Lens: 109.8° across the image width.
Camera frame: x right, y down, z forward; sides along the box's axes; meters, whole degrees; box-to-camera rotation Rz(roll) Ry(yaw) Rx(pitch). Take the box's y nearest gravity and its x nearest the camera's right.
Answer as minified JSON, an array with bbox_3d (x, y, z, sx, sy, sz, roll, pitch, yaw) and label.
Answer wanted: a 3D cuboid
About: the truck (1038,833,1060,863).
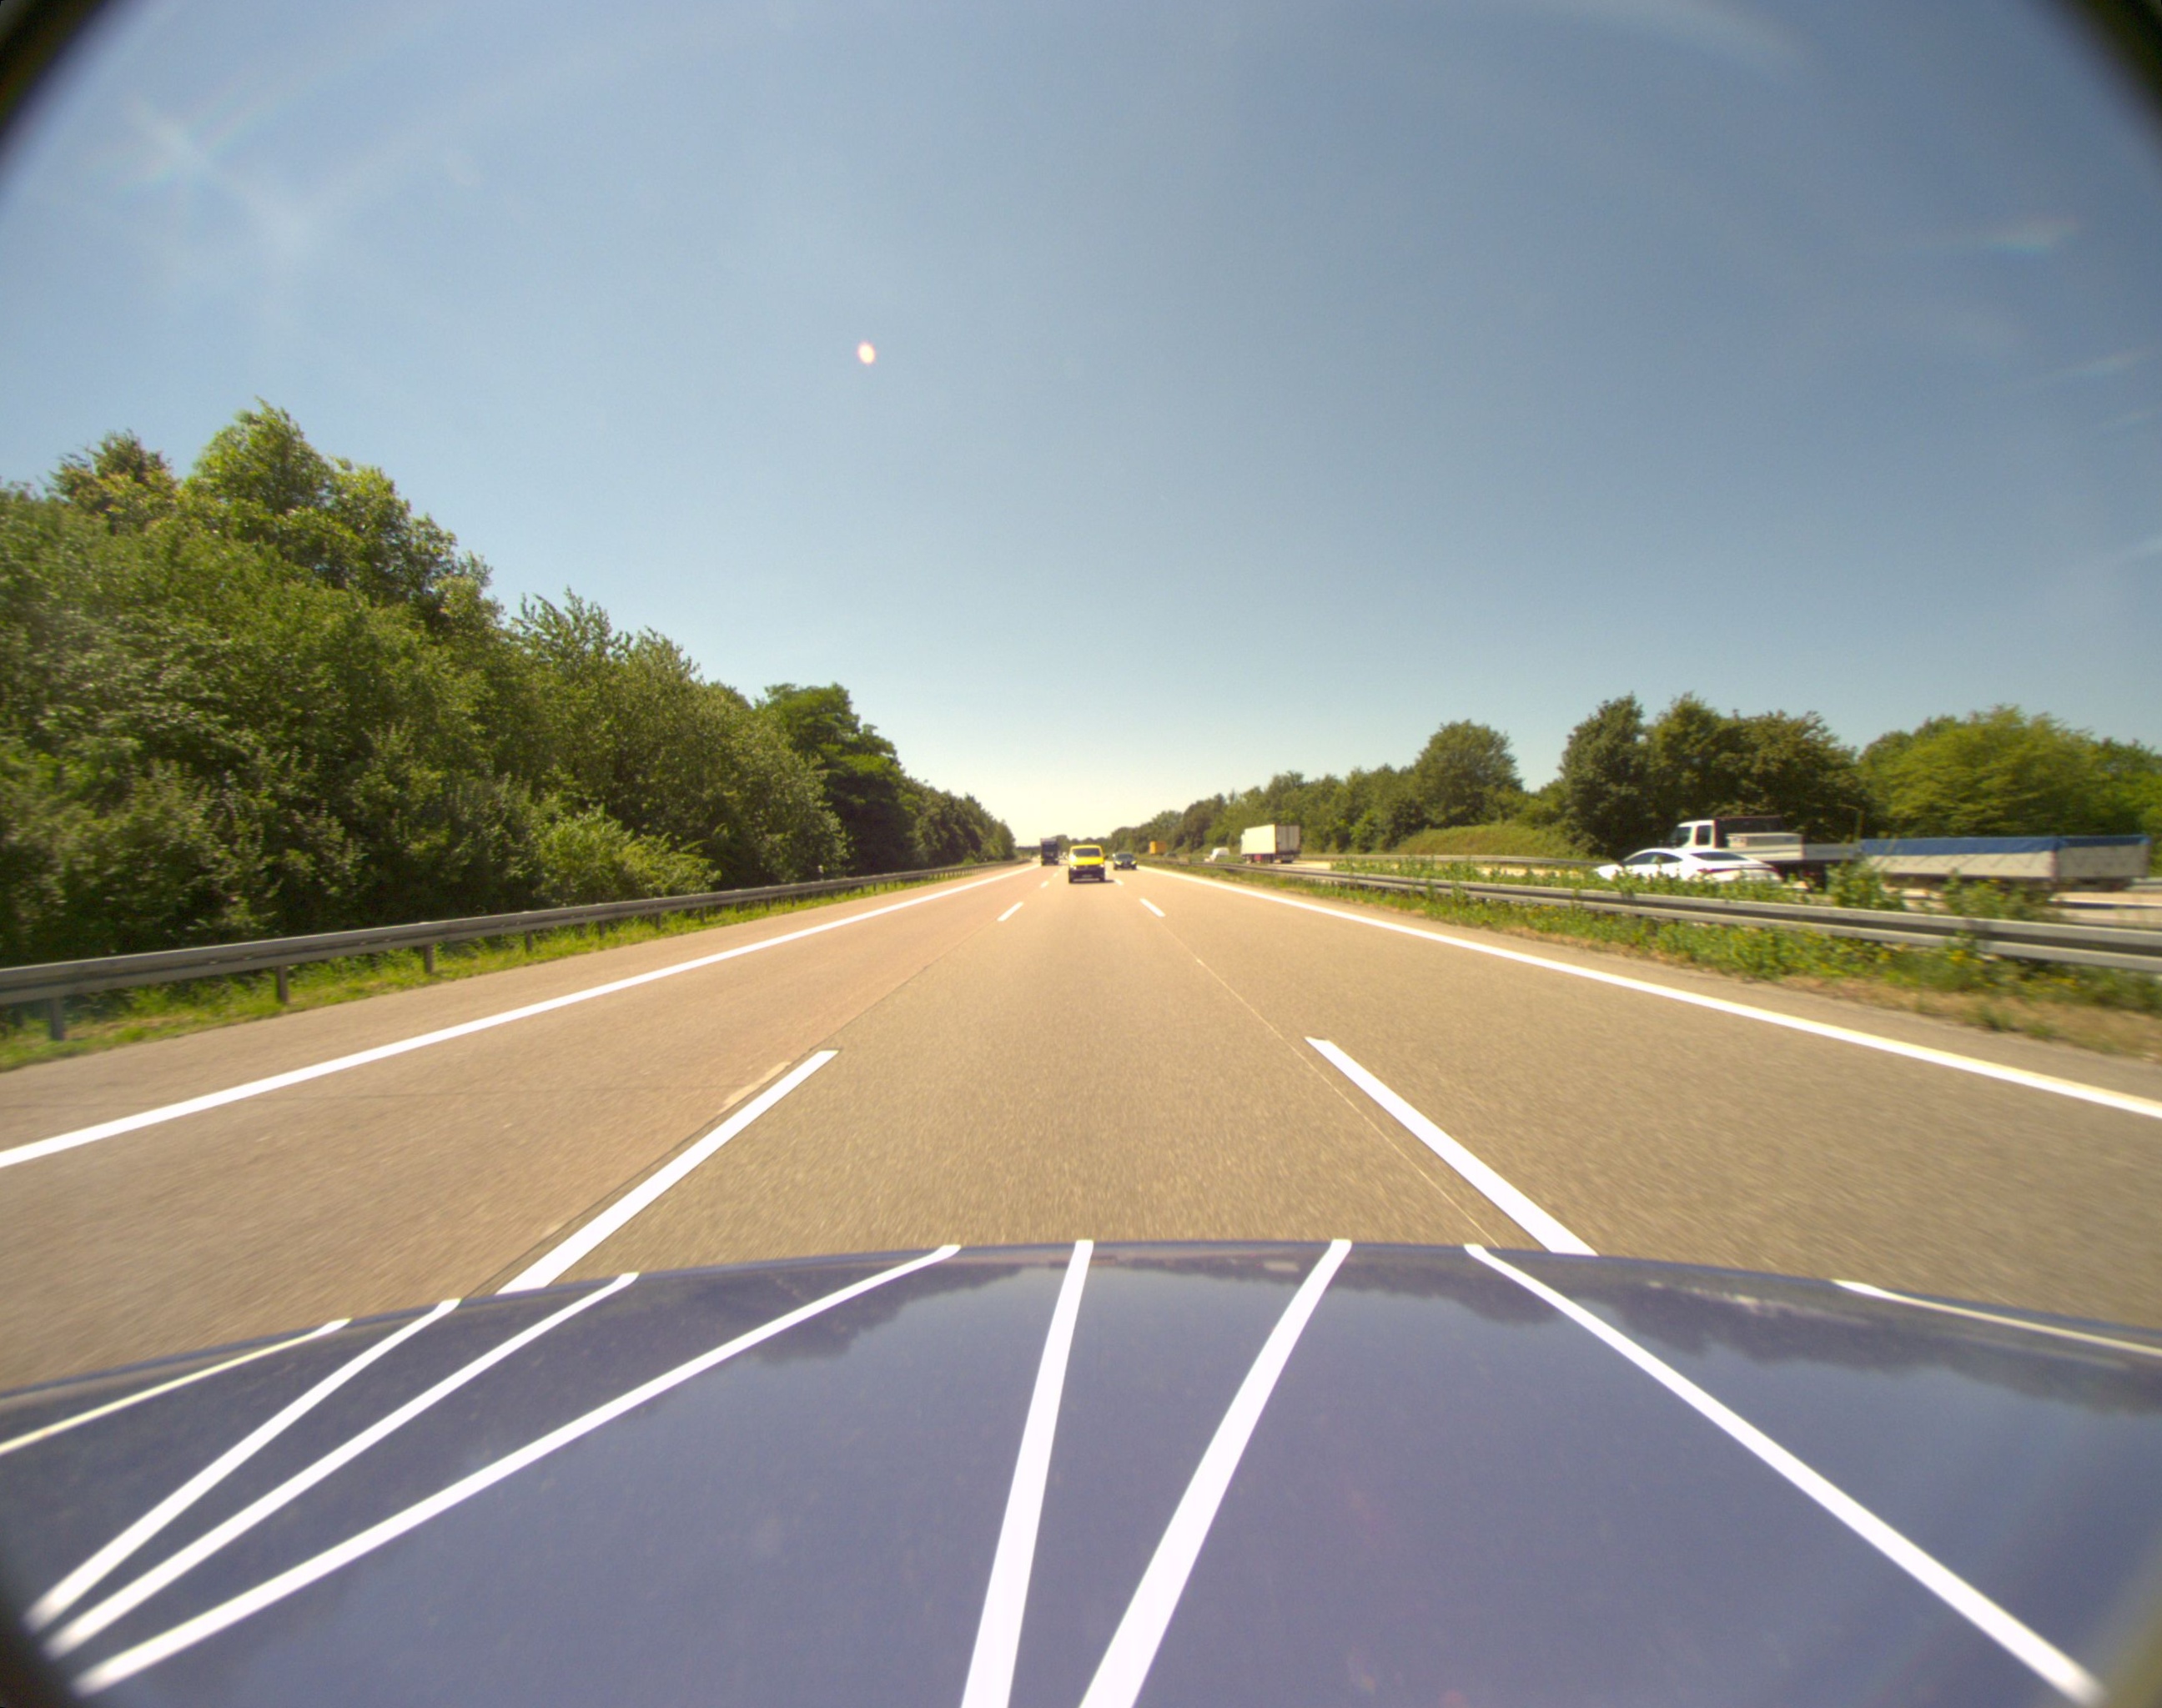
[{"bbox_3d":[-4.572,-0.850,109.925,2.916,4.231,4.974,-2,1,-2],"label":"truck"}]

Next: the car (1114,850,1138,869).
[{"bbox_3d":[3.817,0.461,65.079,1.726,1.478,3.999,-1,0,-1],"label":"car"}]

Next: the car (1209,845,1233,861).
[{"bbox_3d":[16.849,-0.159,91.696,1.820,1.865,4.877,-1,0,-1],"label":"car"}]

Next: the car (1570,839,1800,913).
[{"bbox_3d":[14.757,0.465,19.046,1.817,1.587,5.009,-1,0,1],"label":"car"}]

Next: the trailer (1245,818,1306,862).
[{"bbox_3d":[21.008,-1.434,83.136,3.319,4.336,13.587,-1,0,1],"label":"trailer"}]

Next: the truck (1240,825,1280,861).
[{"bbox_3d":[21.099,-1.275,90.036,3.269,3.928,6.100,-2,1,1],"label":"truck"}]

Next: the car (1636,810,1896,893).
[{"bbox_3d":[20.747,-0.083,23.629,2.249,2.160,6.541,-1,0,1],"label":"car"}]

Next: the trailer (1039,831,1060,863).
[{"bbox_3d":[-4.814,-1.056,117.257,2.909,4.630,13.982,-2,0,-2],"label":"trailer"}]

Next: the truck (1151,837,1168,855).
[{"bbox_3d":[18.273,-1.860,177.534,2.757,4.017,10.789,-2,1,-1],"label":"truck"}]

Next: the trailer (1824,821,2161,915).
[{"bbox_3d":[20.692,0.261,17.629,2.033,1.825,4.989,-1,0,1],"label":"trailer"}]

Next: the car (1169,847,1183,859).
[{"bbox_3d":[12.645,-0.135,101.215,1.377,1.418,3.455,-1,0,0],"label":"car"}]

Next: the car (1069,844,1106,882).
[{"bbox_3d":[0.274,0.454,39.889,1.777,1.882,3.831,0,0,-2],"label":"car"}]

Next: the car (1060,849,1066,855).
[{"bbox_3d":[-5.709,-0.655,242.870,1.999,2.002,4.000,-1,0,0],"label":"car"}]
